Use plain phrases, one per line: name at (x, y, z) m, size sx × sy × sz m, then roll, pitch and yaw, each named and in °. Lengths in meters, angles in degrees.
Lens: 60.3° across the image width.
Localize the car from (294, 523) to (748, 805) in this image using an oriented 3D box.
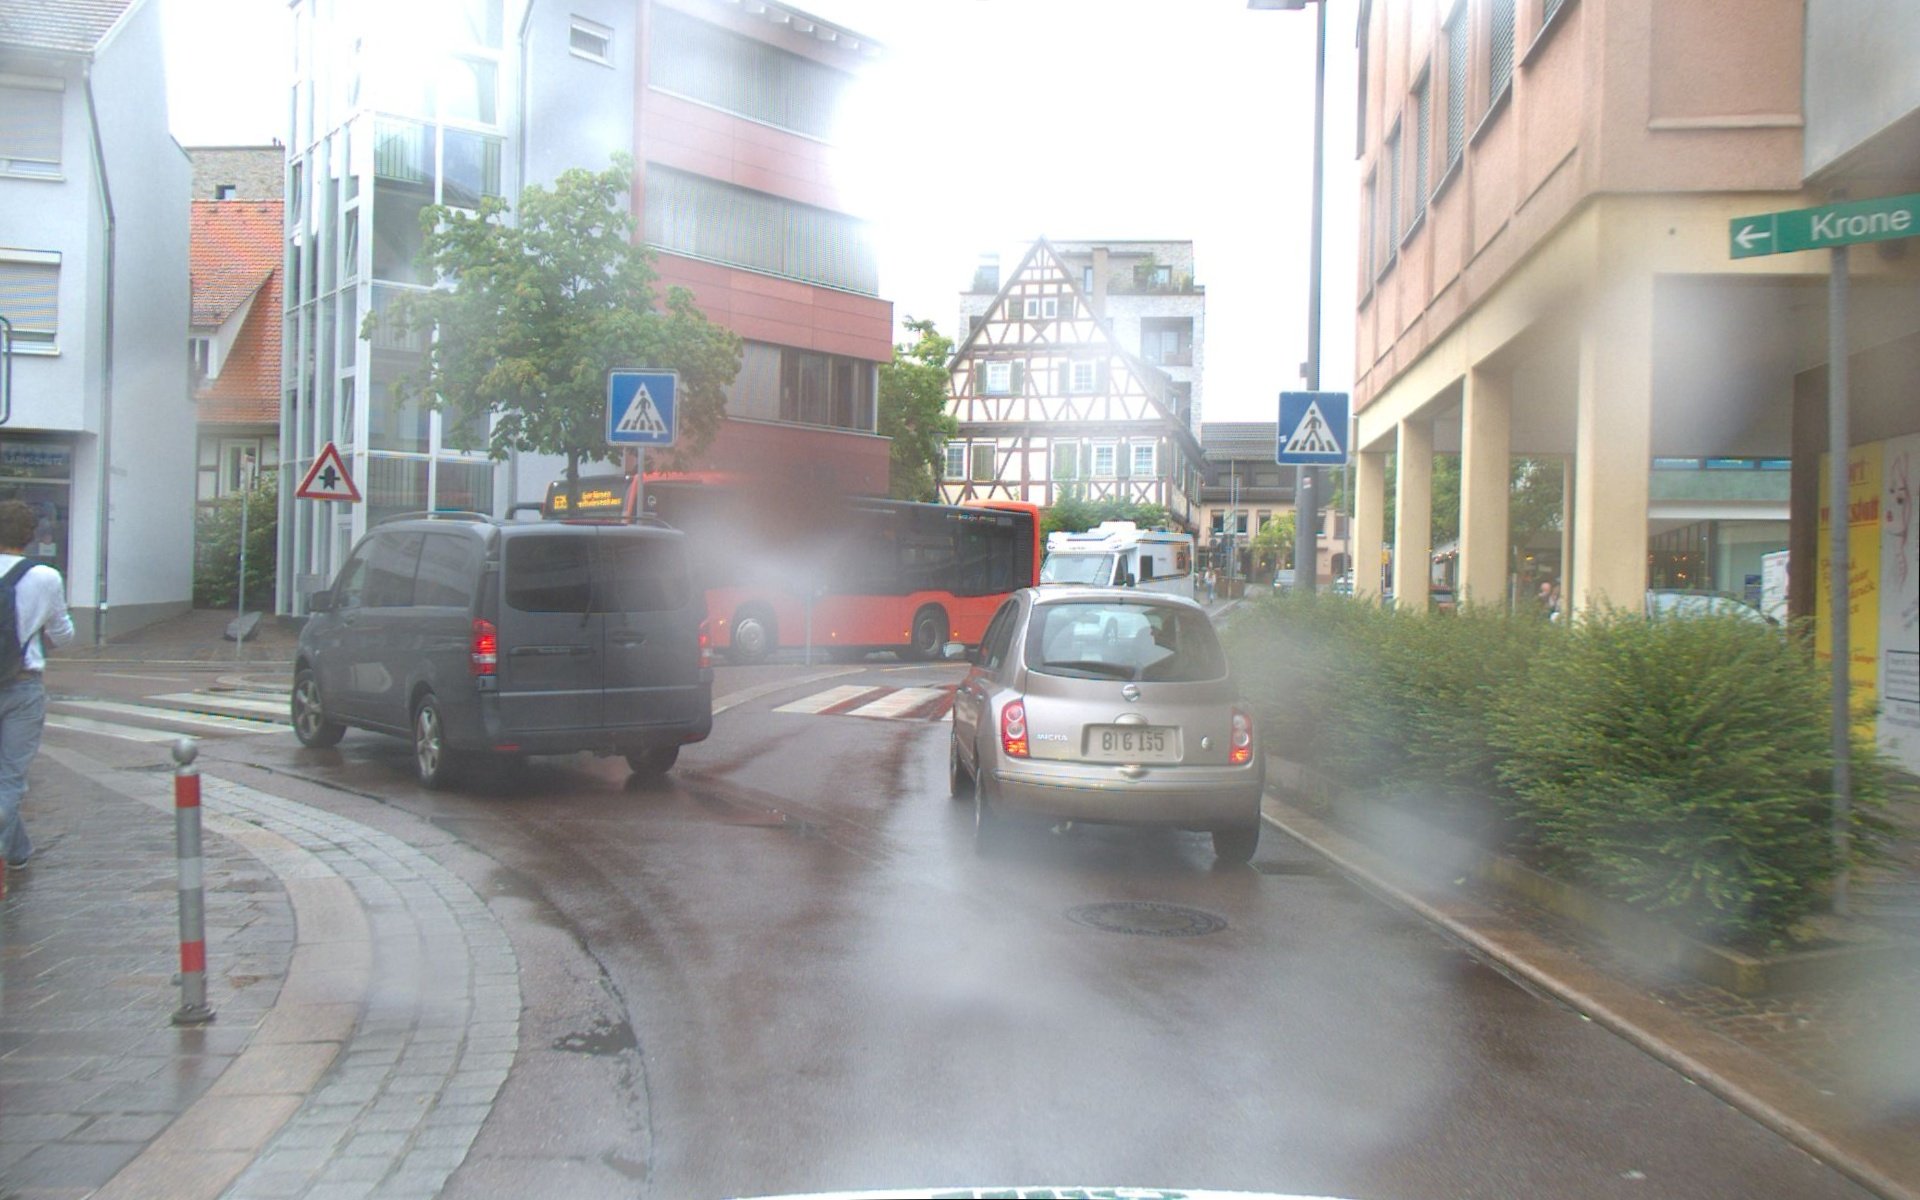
car at (-3.658, 0.343, 13.101) m, size 1.931 × 1.812 × 4.667 m, roll 1°, pitch 1°, yaw -36°

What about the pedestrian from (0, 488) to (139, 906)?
pedestrian at (-4.443, 0.419, 7.780) m, size 0.650 × 1.838 × 1.060 m, roll 1°, pitch 0°, yaw -3°

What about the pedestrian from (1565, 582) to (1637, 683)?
pedestrian at (10.897, 0.538, 28.122) m, size 0.949 × 1.667 × 0.731 m, roll 1°, pitch 0°, yaw 39°

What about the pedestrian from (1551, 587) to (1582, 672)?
pedestrian at (11.082, 0.536, 30.220) m, size 0.486 × 1.535 × 0.491 m, roll 1°, pitch 0°, yaw 16°

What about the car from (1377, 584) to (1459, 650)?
car at (10.405, 0.357, 37.452) m, size 1.505 × 1.385 × 3.374 m, roll 2°, pitch 1°, yaw 20°

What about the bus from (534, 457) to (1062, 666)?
bus at (-2.436, -0.585, 29.874) m, size 2.770 × 3.142 × 10.549 m, roll 0°, pitch 0°, yaw 40°

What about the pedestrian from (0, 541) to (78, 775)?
pedestrian at (-6.849, 0.399, 11.897) m, size 0.646 × 1.638 × 0.683 m, roll 1°, pitch 0°, yaw -5°

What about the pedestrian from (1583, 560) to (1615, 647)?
pedestrian at (12.610, 0.063, 32.657) m, size 0.529 × 1.692 × 0.521 m, roll 1°, pitch 0°, yaw 17°

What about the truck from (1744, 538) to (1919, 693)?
truck at (11.889, 0.181, 21.715) m, size 1.725 × 1.839 × 4.003 m, roll 1°, pitch 0°, yaw 8°

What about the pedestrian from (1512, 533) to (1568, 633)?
pedestrian at (10.018, -0.292, 28.584) m, size 0.685 × 1.690 × 0.817 m, roll 1°, pitch 0°, yaw 37°

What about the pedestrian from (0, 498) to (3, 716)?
pedestrian at (-5.113, 0.407, 7.723) m, size 0.678 × 1.832 × 1.058 m, roll 1°, pitch 0°, yaw -3°

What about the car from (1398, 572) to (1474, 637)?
car at (12.083, 0.089, 42.188) m, size 1.589 × 1.527 × 4.004 m, roll -2°, pitch 0°, yaw 13°

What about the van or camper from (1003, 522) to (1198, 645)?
van or camper at (3.494, -0.369, 39.284) m, size 2.390 × 2.630 × 6.746 m, roll 2°, pitch 1°, yaw 25°

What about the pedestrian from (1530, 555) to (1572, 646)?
pedestrian at (11.857, 0.007, 33.189) m, size 0.718 × 1.779 × 0.893 m, roll 1°, pitch 0°, yaw 16°

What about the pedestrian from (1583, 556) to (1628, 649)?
pedestrian at (12.244, 0.045, 31.383) m, size 0.620 × 1.719 × 0.743 m, roll 1°, pitch 0°, yaw 9°

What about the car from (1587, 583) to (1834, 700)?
car at (9.615, 0.456, 21.570) m, size 1.725 × 1.298 × 4.475 m, roll 2°, pitch 1°, yaw 8°

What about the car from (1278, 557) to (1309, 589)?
car at (18.643, -1.491, 92.433) m, size 1.552 × 1.742 × 3.324 m, roll 2°, pitch 1°, yaw 13°

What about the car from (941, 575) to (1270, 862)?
car at (0.760, 0.610, 10.425) m, size 1.492 × 1.496 × 3.338 m, roll 1°, pitch 1°, yaw -5°
